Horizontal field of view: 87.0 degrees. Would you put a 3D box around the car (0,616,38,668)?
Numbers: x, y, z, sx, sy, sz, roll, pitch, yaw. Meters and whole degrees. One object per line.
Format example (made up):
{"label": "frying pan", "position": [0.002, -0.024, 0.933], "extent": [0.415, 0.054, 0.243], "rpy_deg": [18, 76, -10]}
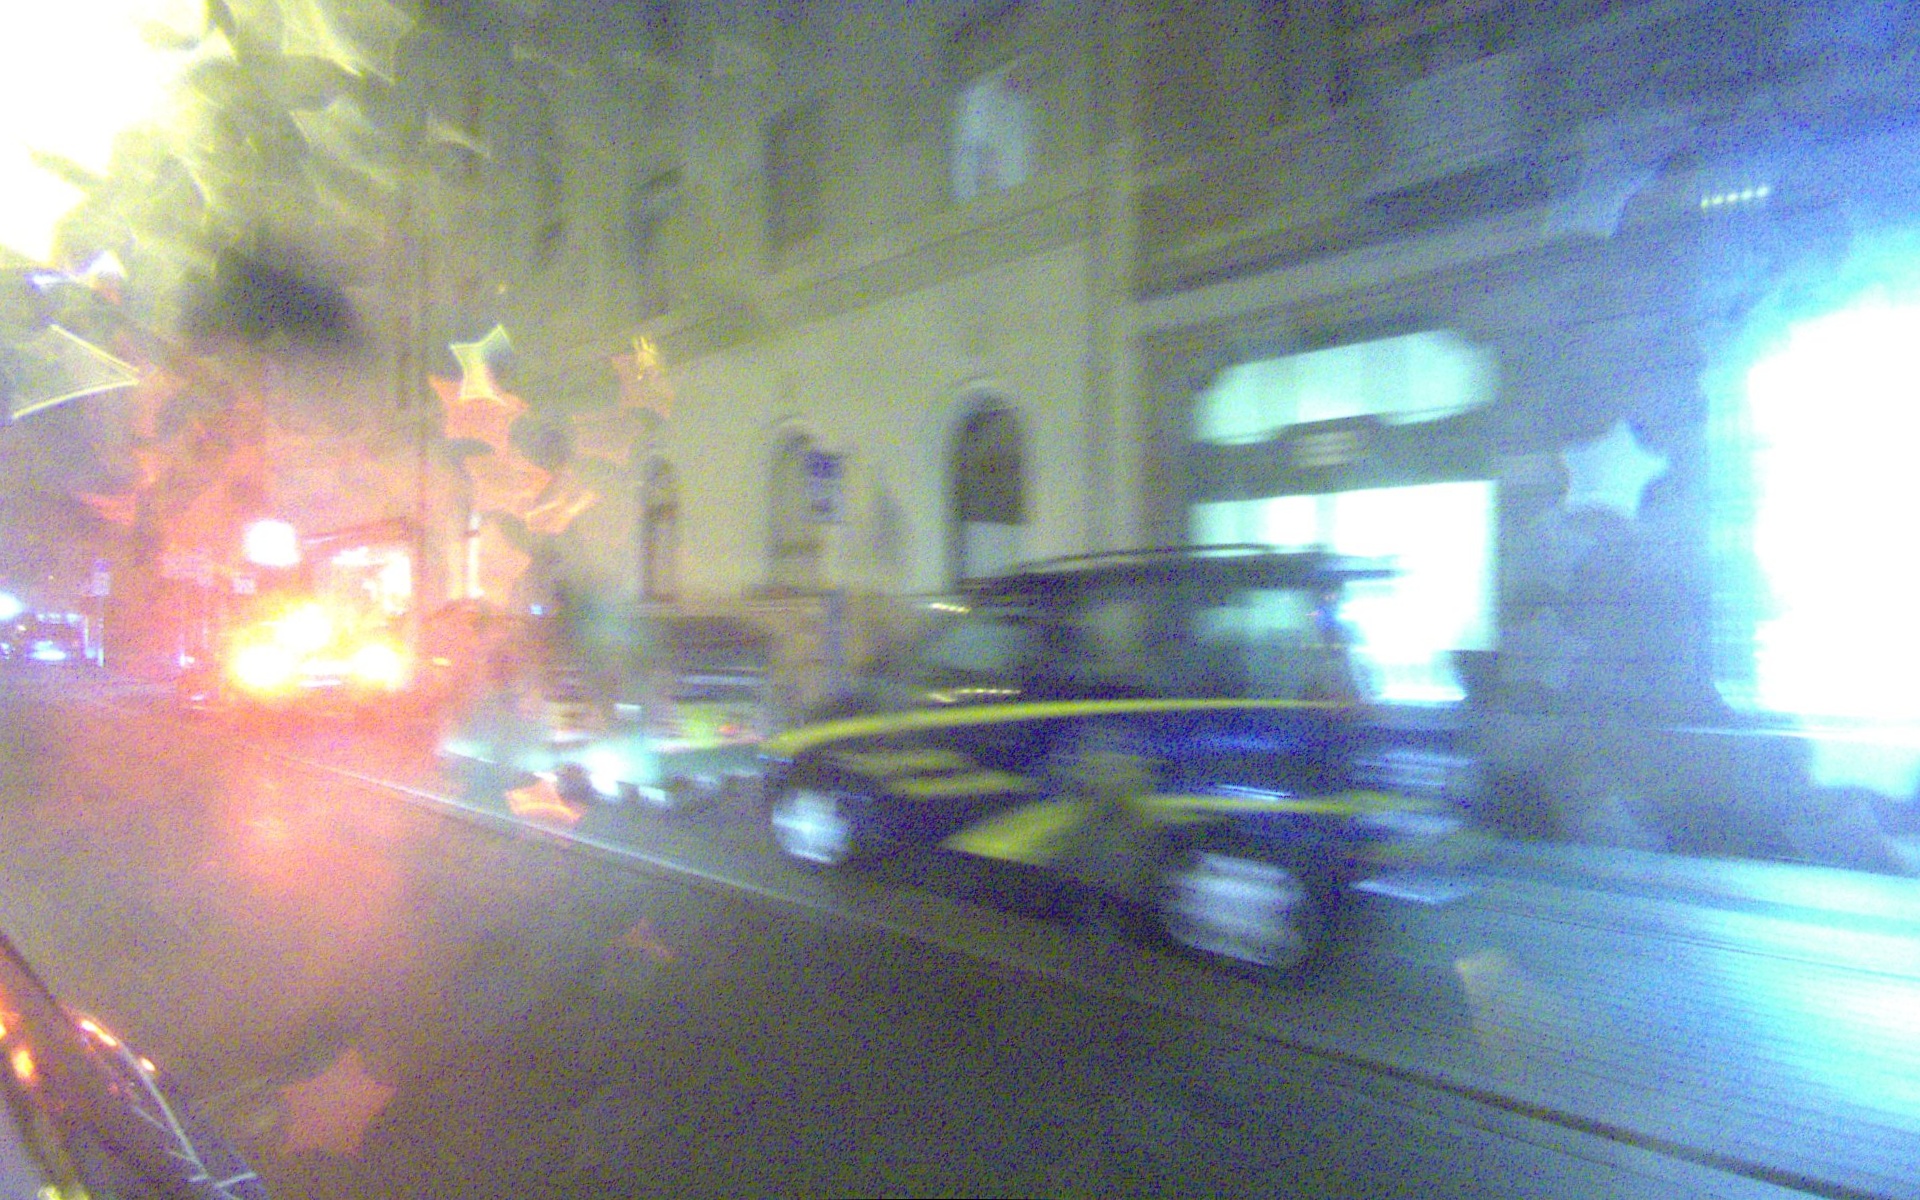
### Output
{"label": "car", "position": [-36.185, 1.551, 37.987], "extent": [4.826, 1.860, 1.846], "rpy_deg": [-2, -3, 42]}

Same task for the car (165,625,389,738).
{"label": "car", "position": [-9.838, 1.056, 14.454], "extent": [4.220, 1.369, 1.637], "rpy_deg": [-1, -2, 41]}

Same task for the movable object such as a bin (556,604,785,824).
{"label": "movable object such as a bin", "position": [-2.196, 0.783, 7.709], "extent": [1.151, 1.470, 1.248], "rpy_deg": [-1, 0, 43]}

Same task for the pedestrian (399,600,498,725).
{"label": "pedestrian", "position": [-7.645, 0.906, 15.142], "extent": [0.787, 1.796, 1.120], "rpy_deg": [-2, -2, 41]}

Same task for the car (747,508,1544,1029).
{"label": "car", "position": [0.699, 0.593, 5.175], "extent": [3.719, 1.719, 1.587], "rpy_deg": [-1, -1, 41]}

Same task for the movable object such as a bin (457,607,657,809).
{"label": "movable object such as a bin", "position": [-3.302, 0.812, 8.305], "extent": [1.107, 1.470, 1.152], "rpy_deg": [-1, 0, 43]}

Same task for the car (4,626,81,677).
{"label": "car", "position": [-28.901, 1.569, 31.840], "extent": [3.563, 1.453, 1.529], "rpy_deg": [-2, 0, 44]}

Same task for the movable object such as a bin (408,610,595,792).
{"label": "movable object such as a bin", "position": [-4.133, 0.847, 9.140], "extent": [1.107, 1.470, 1.195], "rpy_deg": [-1, 0, 43]}
